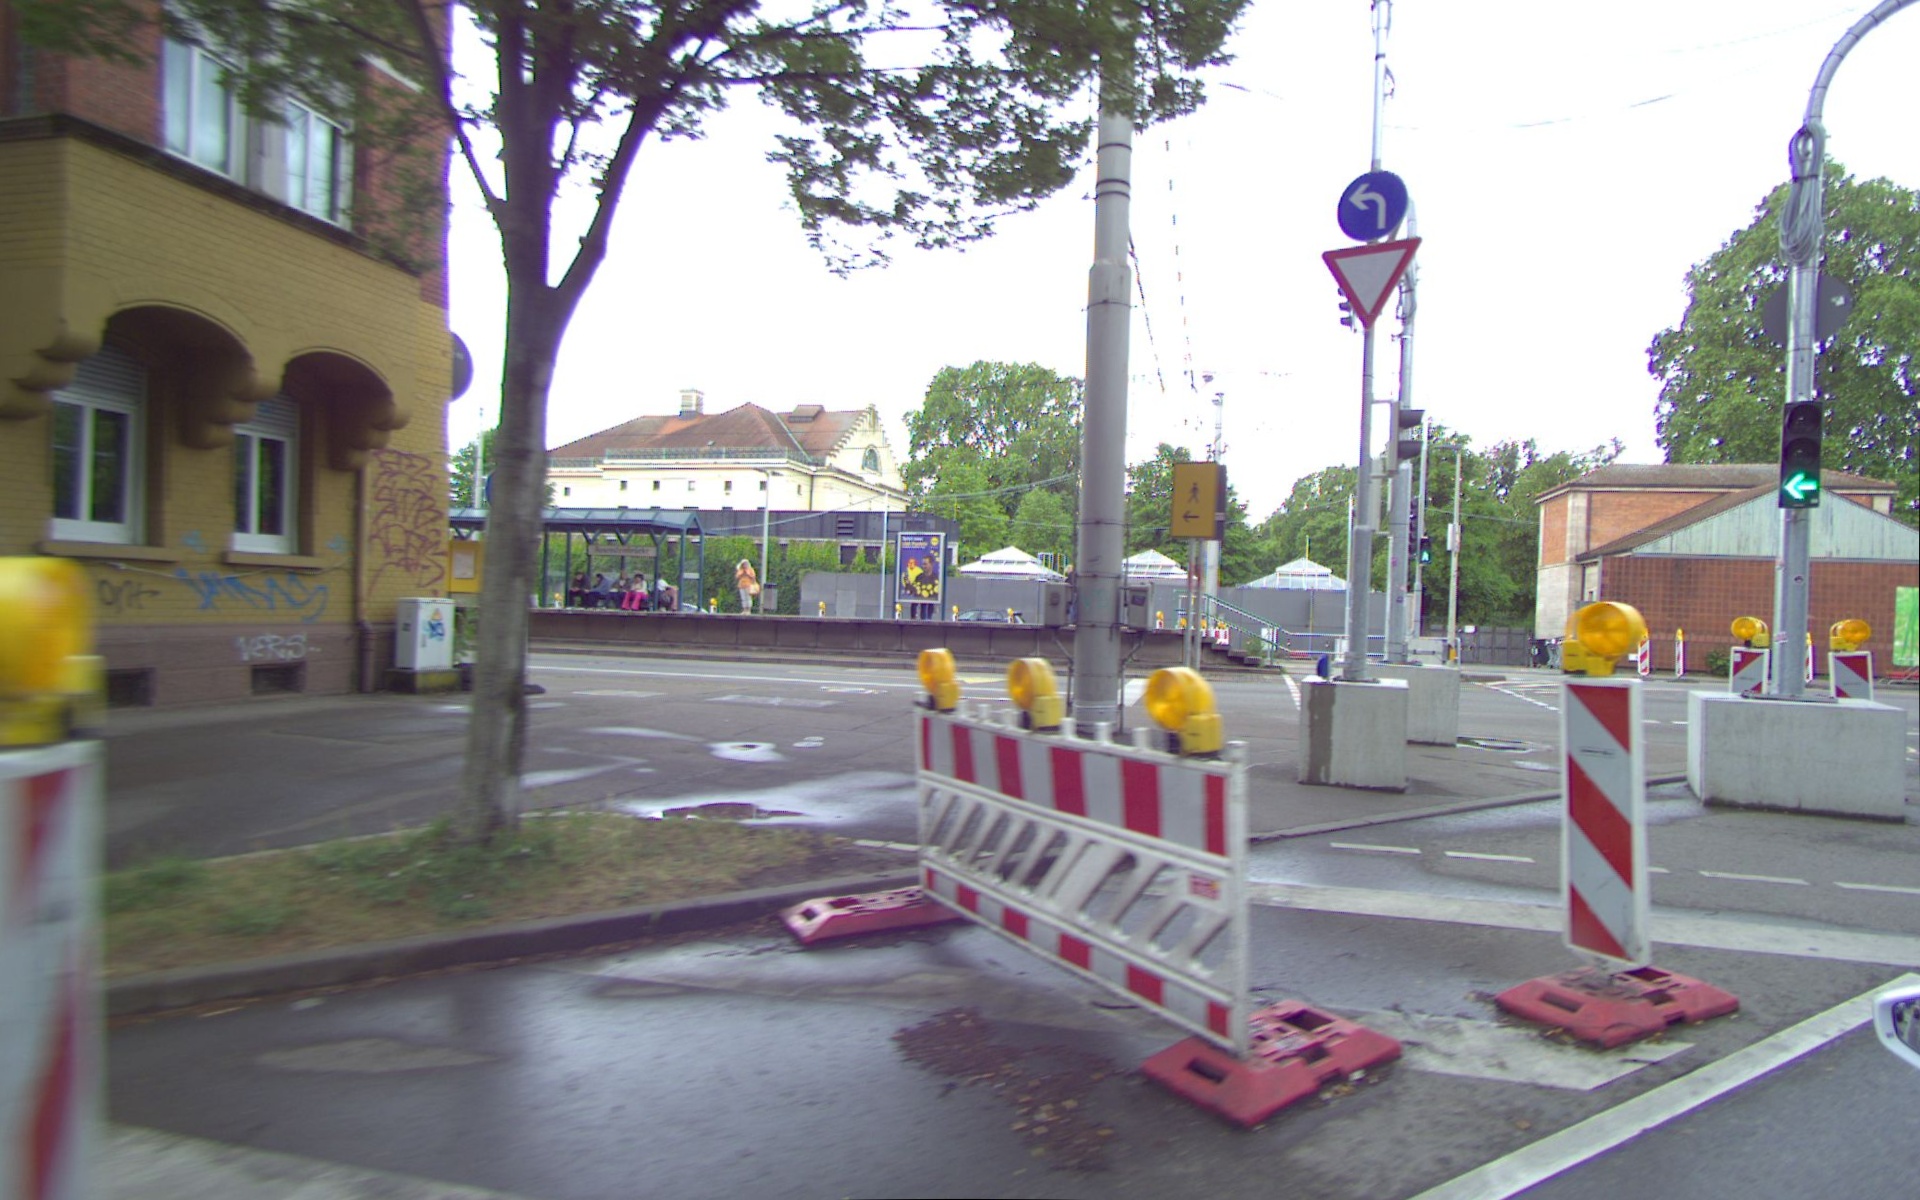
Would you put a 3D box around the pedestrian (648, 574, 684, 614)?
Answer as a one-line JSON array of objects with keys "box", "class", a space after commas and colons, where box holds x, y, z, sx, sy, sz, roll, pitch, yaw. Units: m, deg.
[{"box": [-8.889, -0.179, 30.385, 0.638, 1.137, 0.822, 3, -1, 17], "class": "pedestrian"}]

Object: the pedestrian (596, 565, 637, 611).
[{"box": [-10.018, -0.338, 29.309, 0.758, 1.286, 0.810, 3, -1, 17], "class": "pedestrian"}]

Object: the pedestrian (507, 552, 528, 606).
[{"box": [-13.898, -0.660, 31.560, 0.475, 1.662, 0.592, 3, -1, -28], "class": "pedestrian"}]

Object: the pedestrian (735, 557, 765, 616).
[{"box": [-6.212, -0.401, 29.715, 0.530, 1.699, 0.779, 1, -1, 15], "class": "pedestrian"}]

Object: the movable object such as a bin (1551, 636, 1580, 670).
[{"box": [24.640, 2.144, 40.901, 0.834, 1.358, 0.801, 1, -2, 19], "class": "movable object such as a bin"}]

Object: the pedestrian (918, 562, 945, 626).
[{"box": [-0.784, -0.160, 27.397, 0.586, 1.722, 0.459, 1, -1, 16], "class": "pedestrian"}]

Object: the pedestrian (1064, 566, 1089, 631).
[{"box": [2.968, -0.026, 25.661, 0.515, 1.631, 0.599, 1, -1, 15], "class": "pedestrian"}]

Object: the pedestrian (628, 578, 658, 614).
[{"box": [-9.096, -0.108, 28.841, 0.503, 0.992, 0.663, 1, -1, 15], "class": "pedestrian"}]

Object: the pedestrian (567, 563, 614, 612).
[{"box": [-10.856, -0.360, 29.563, 0.917, 1.390, 0.822, 3, -1, 17], "class": "pedestrian"}]
